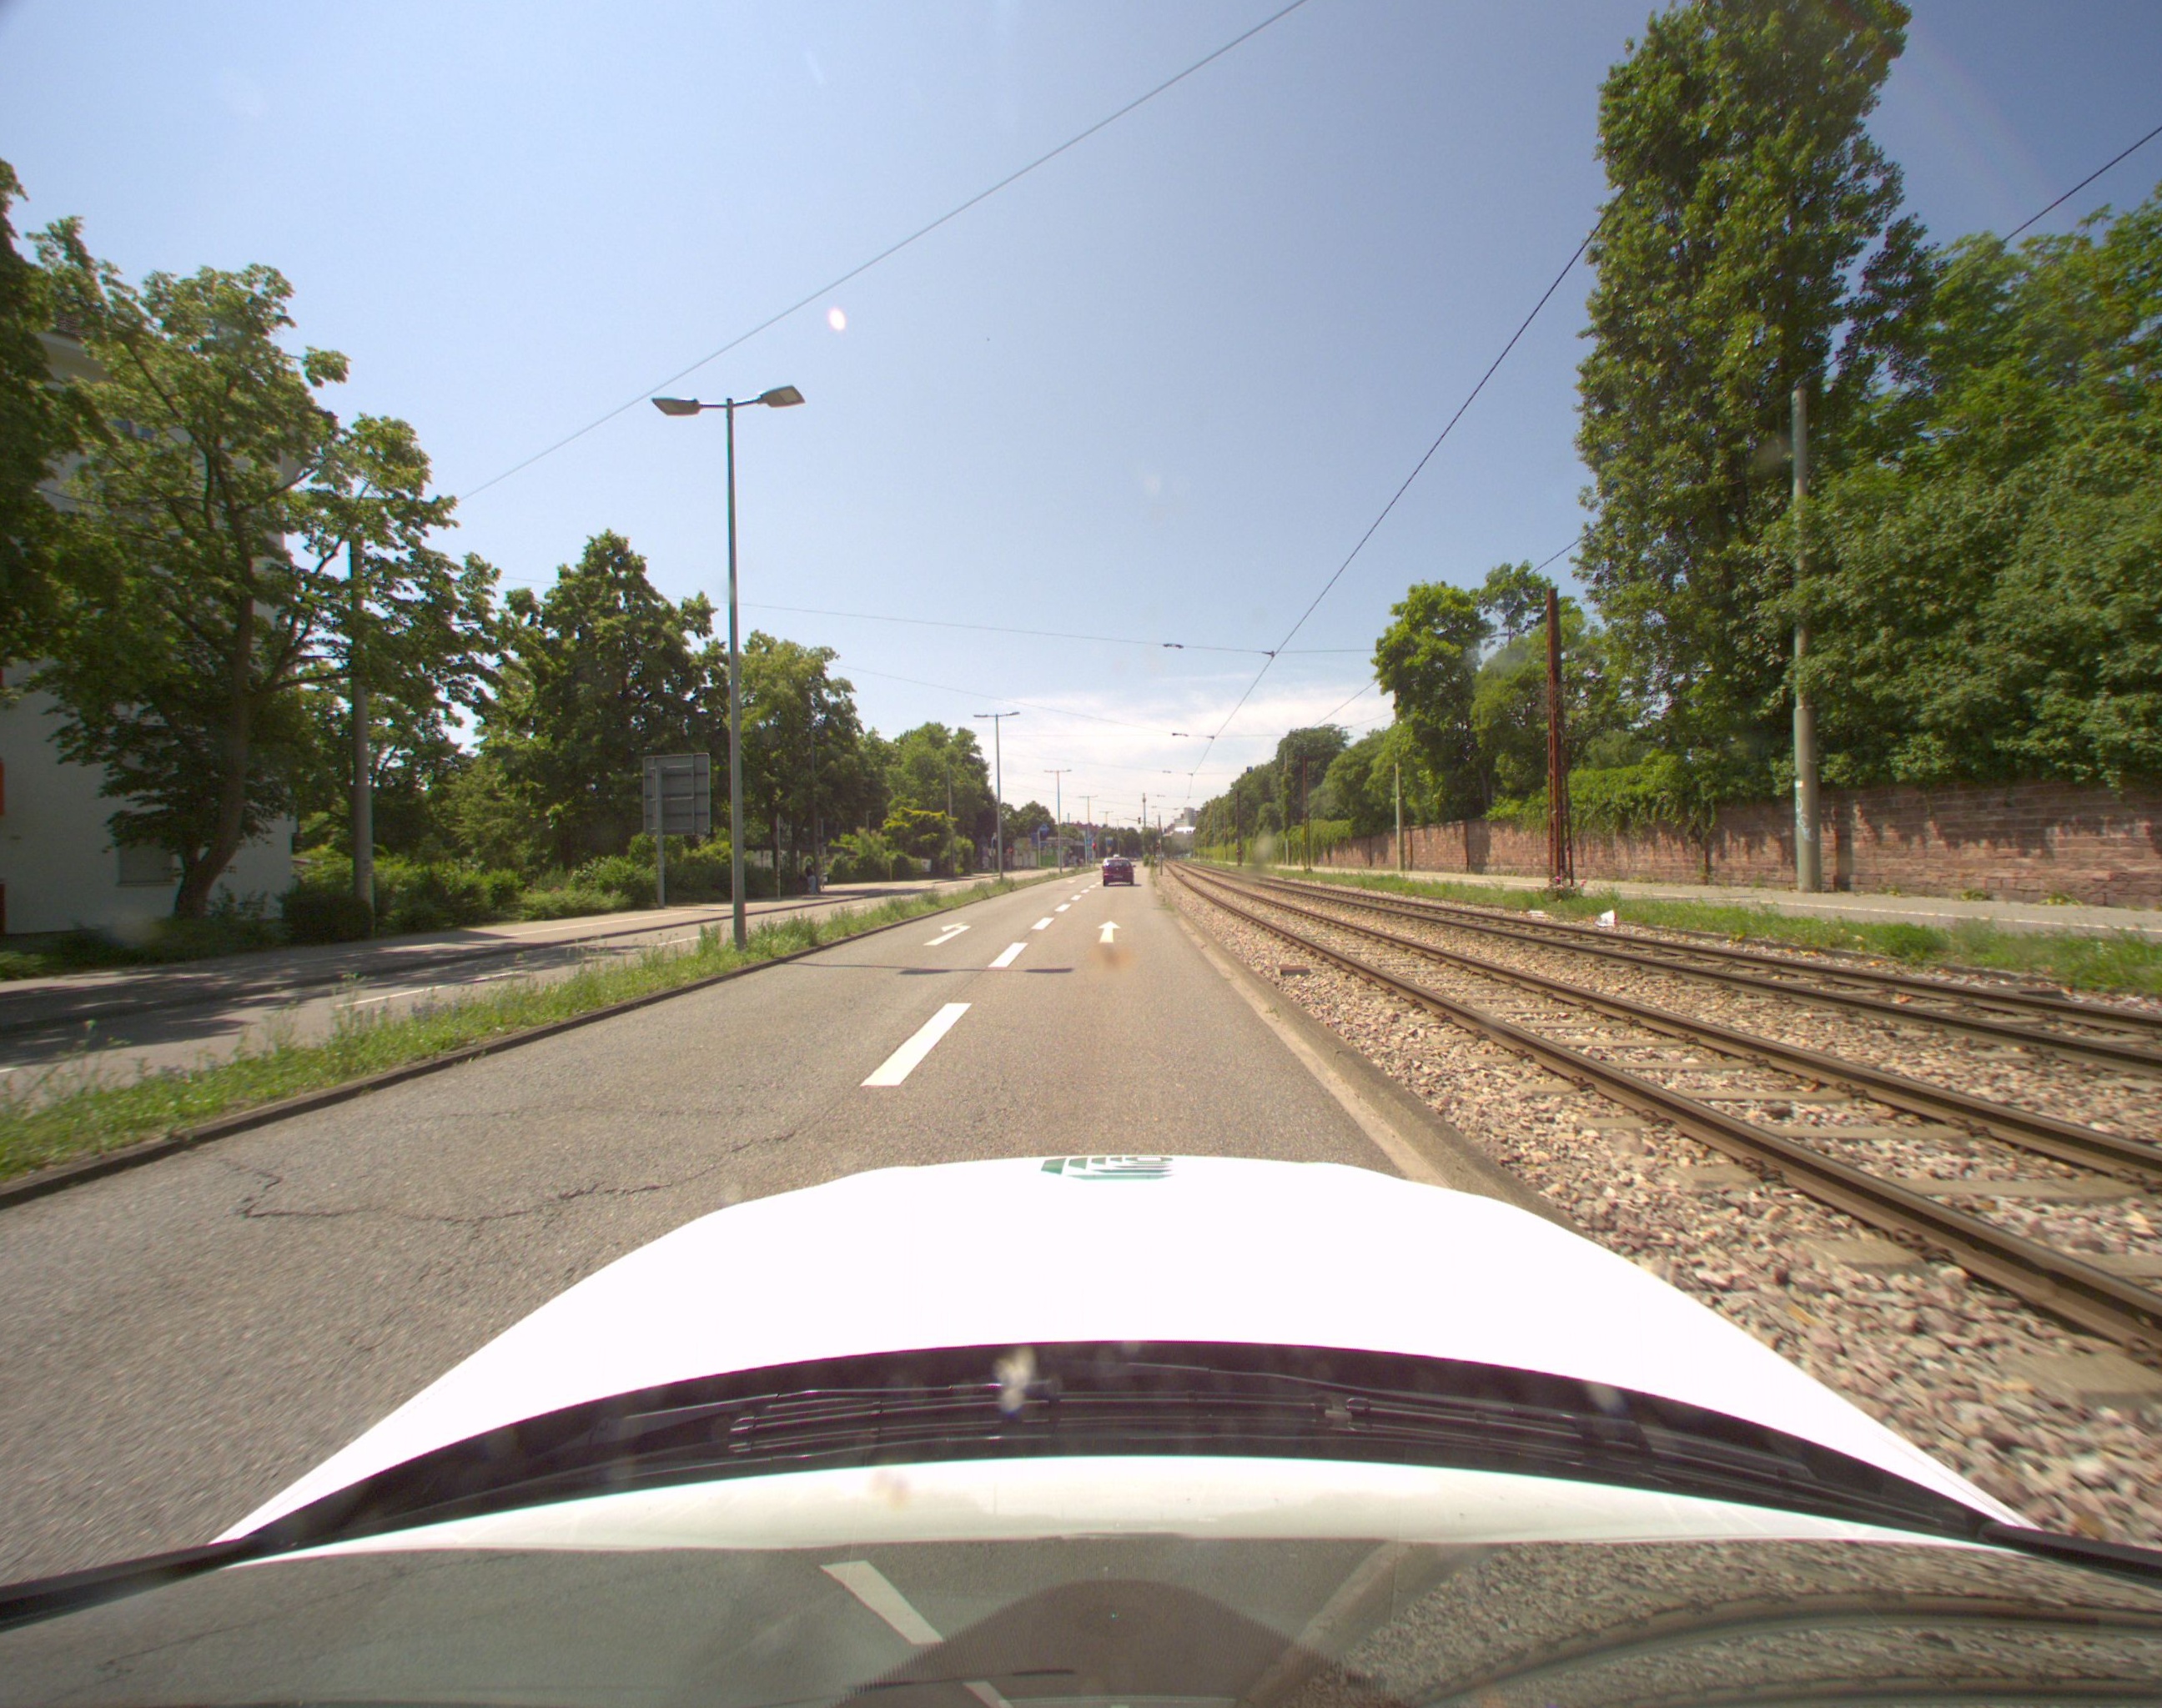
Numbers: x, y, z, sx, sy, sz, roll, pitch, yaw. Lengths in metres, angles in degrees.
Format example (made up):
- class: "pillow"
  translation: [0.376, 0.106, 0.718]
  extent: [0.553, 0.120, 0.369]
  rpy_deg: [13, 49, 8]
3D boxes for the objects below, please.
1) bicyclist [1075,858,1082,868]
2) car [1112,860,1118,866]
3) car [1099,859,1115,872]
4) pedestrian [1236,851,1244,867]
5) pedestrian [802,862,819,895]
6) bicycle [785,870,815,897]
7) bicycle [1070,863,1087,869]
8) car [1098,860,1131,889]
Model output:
- class: "bicyclist"
  translation: [-0.413, 1.406, 130.462]
  extent: [0.945, 1.593, 1.083]
  rpy_deg: [0, -2, -11]
- class: "car"
  translation: [10.513, 2.749, 251.963]
  extent: [1.987, 1.596, 3.999]
  rpy_deg: [0, -1, 0]
- class: "car"
  translation: [3.007, 1.304, 93.593]
  extent: [1.697, 1.480, 3.716]
  rpy_deg: [-2, 0, 0]
- class: "pedestrian"
  translation: [16.983, 0.531, 87.088]
  extent: [0.658, 1.726, 0.817]
  rpy_deg: [-2, -1, 4]
- class: "pedestrian"
  translation: [-14.218, 1.273, 42.862]
  extent: [0.545, 1.718, 0.606]
  rpy_deg: [-2, -1, 17]
- class: "bicycle"
  translation: [-14.821, 1.547, 42.964]
  extent: [0.641, 1.328, 1.580]
  rpy_deg: [-2, -1, 17]
- class: "bicycle"
  translation: [-0.362, 1.915, 130.429]
  extent: [2.551, 1.038, 1.083]
  rpy_deg: [0, -2, -12]
- class: "car"
  translation: [1.842, 1.071, 43.862]
  extent: [1.695, 1.477, 3.719]
  rpy_deg: [-1, 0, 3]
